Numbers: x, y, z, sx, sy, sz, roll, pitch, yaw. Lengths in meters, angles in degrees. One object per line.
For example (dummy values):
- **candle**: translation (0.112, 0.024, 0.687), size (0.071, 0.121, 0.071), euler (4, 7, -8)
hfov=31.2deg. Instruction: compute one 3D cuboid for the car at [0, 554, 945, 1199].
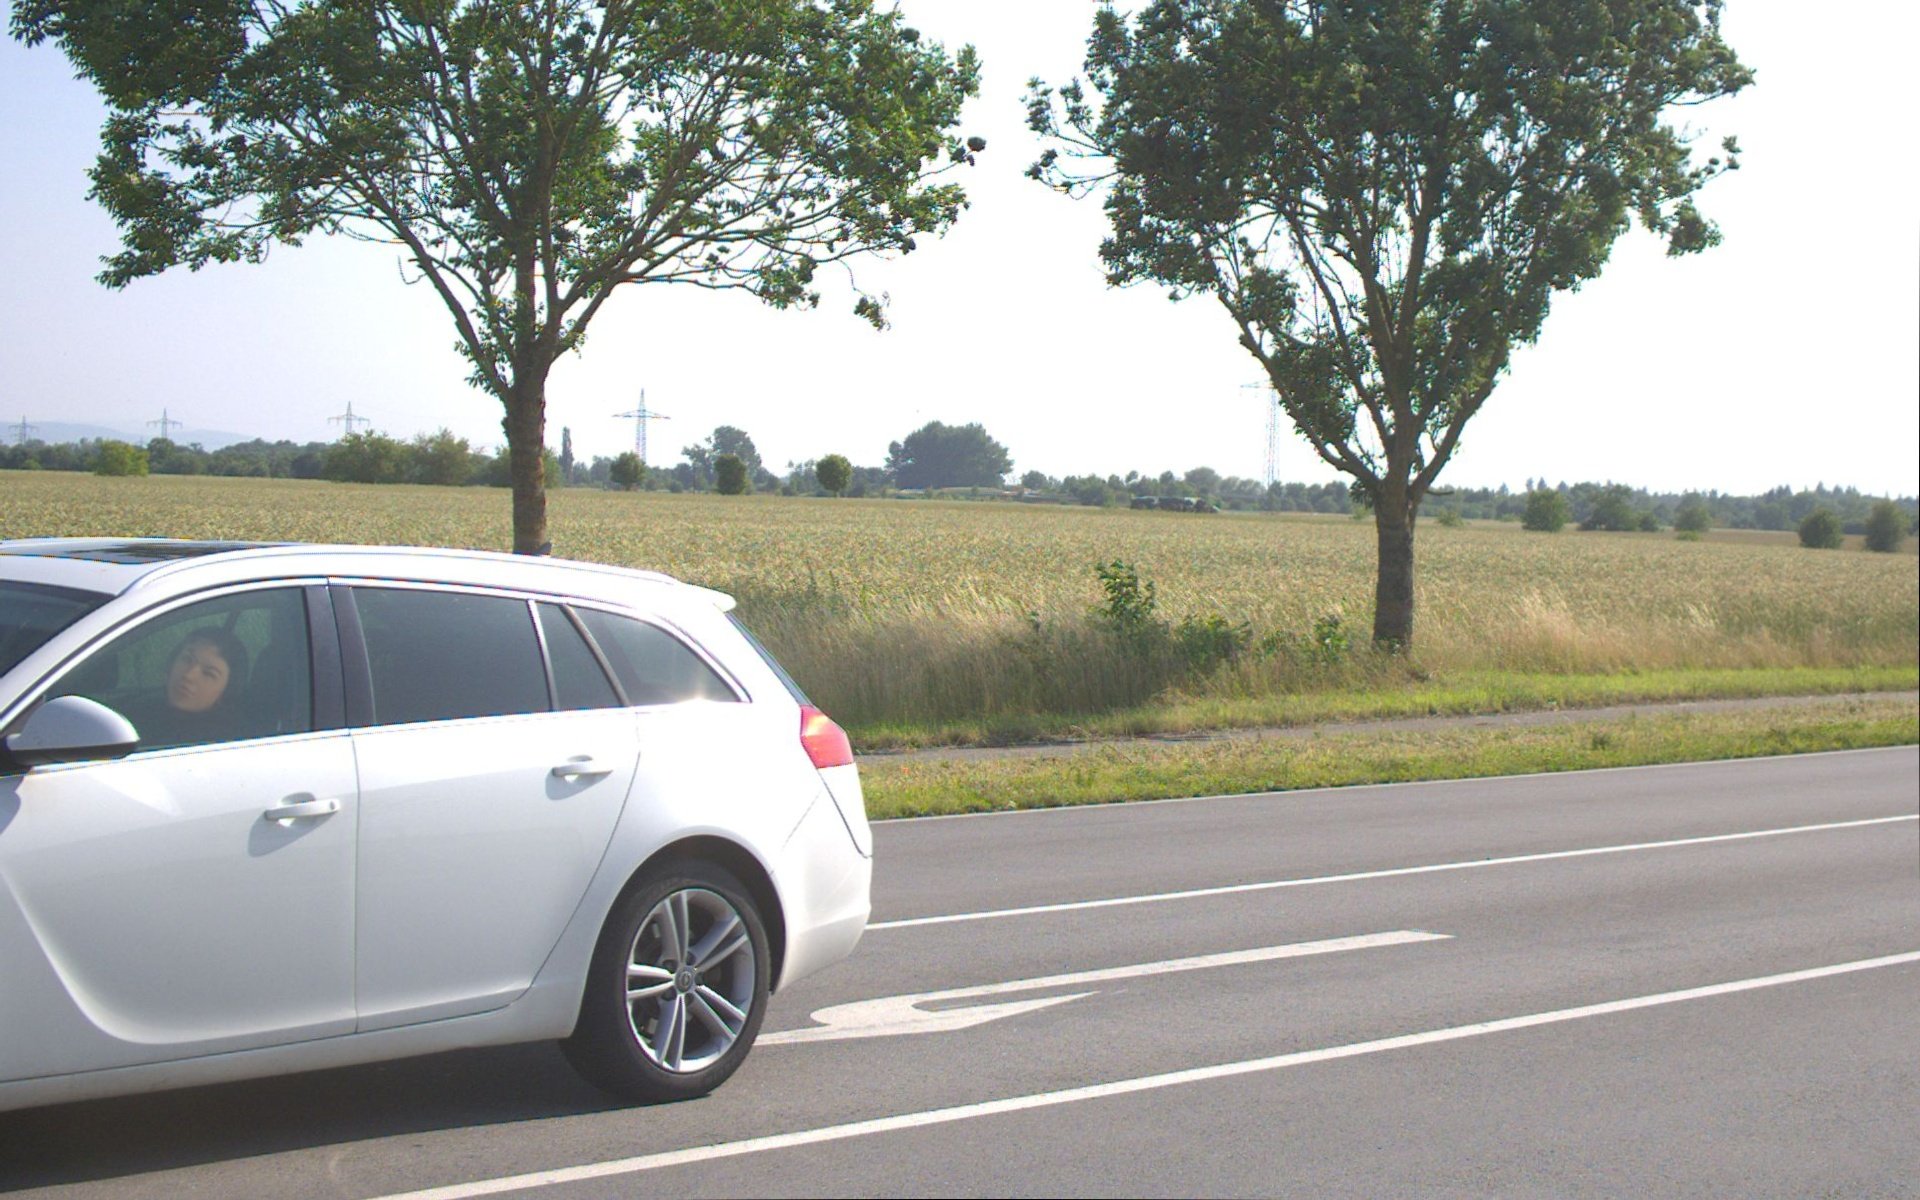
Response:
- **car**: translation (-2.247, 0.639, 8.714), size (1.763, 1.487, 4.697), euler (2, 1, 40)
